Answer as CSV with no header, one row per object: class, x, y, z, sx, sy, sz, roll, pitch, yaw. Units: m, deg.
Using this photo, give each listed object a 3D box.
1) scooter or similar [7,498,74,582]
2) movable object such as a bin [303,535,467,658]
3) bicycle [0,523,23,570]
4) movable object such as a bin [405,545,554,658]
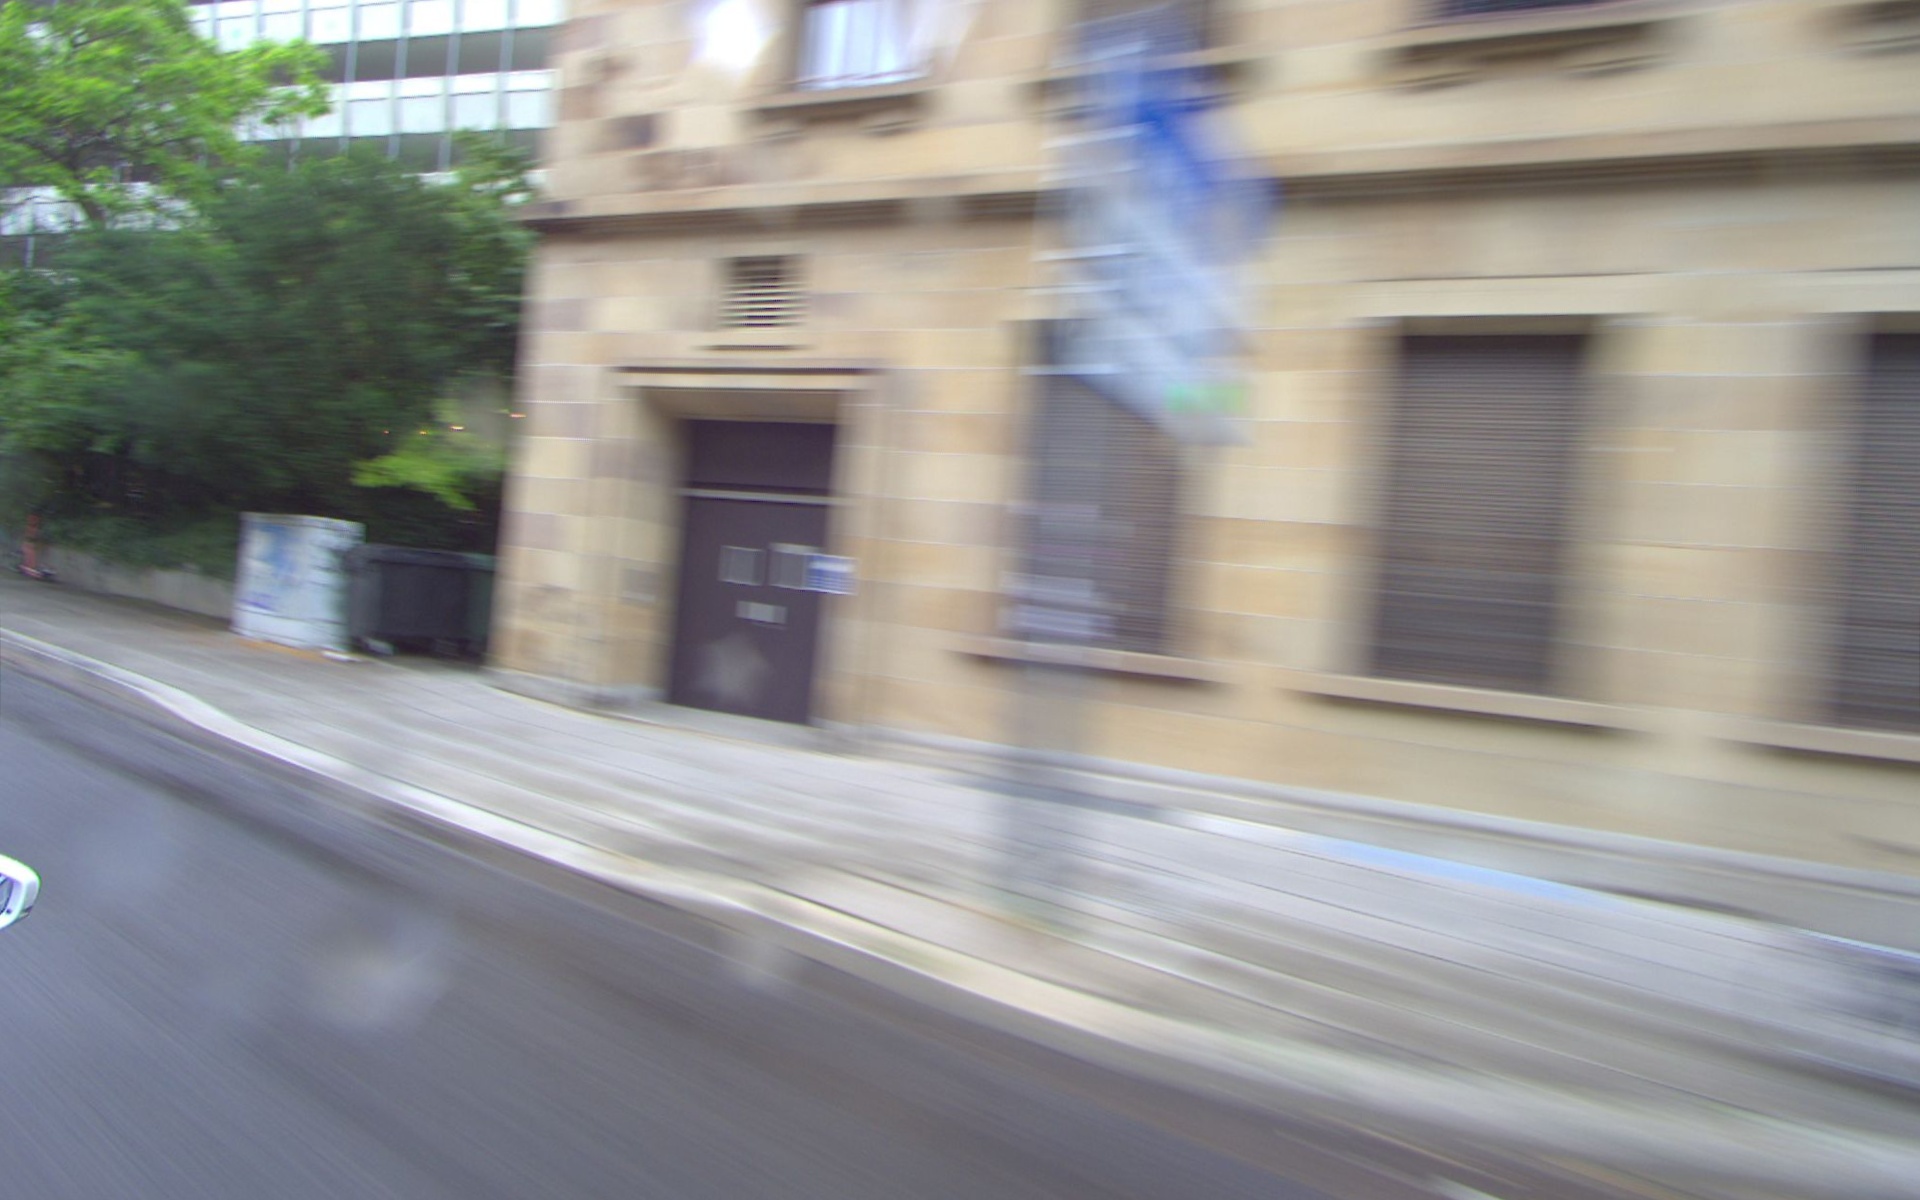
scooter or similar,-15.328,-1.002,16.765,1.191,1.276,0.447,7,2,31
movable object such as a bin,-6.965,-0.032,12.211,1.213,1.327,1.239,7,2,32
bicycle,-17.404,-0.989,18.065,1.191,0.764,0.501,7,2,31
movable object such as a bin,-6.329,0.031,13.280,1.213,1.327,1.239,7,2,32
